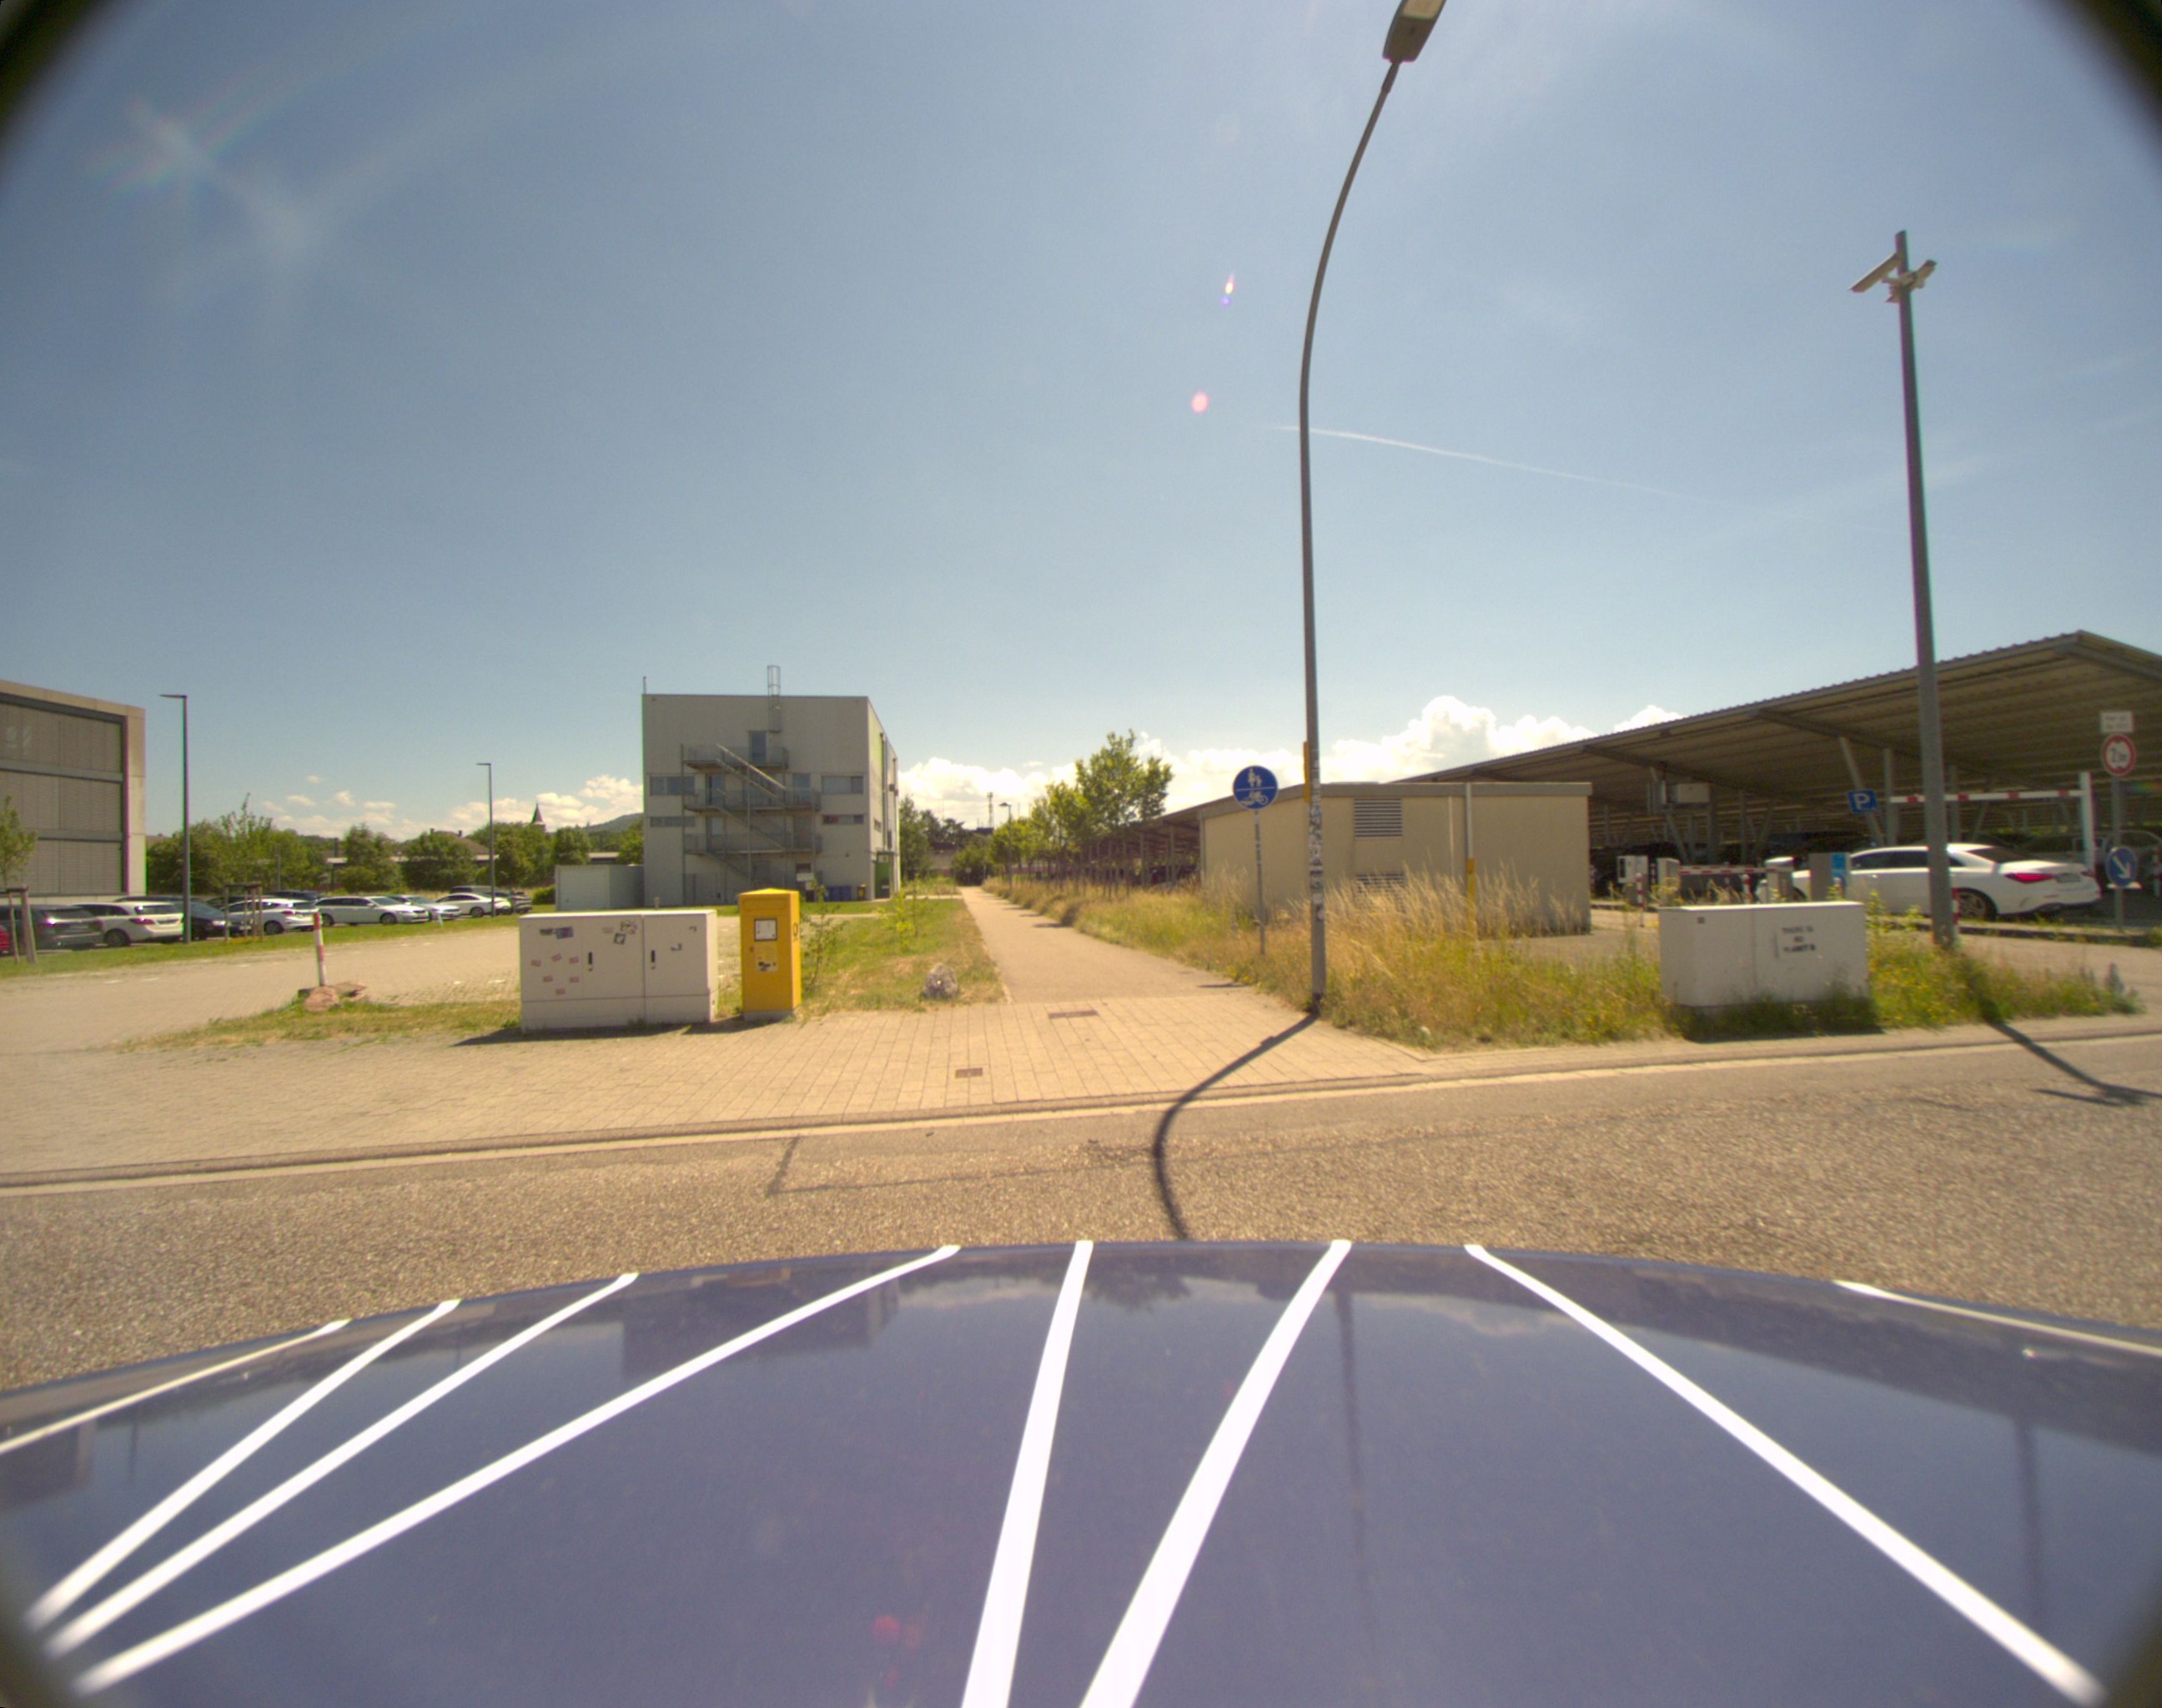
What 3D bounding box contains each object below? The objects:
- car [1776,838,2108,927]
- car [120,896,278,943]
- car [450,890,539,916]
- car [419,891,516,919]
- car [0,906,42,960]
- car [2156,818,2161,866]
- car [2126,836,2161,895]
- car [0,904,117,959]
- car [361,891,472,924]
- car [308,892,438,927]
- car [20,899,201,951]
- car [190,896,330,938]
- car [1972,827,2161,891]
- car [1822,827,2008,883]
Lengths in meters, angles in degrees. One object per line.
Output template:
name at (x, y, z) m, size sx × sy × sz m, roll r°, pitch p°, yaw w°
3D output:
car at (15.910, 0.511, 14.362) m, size 1.724 × 1.427 × 3.773 m, roll -1°, pitch -1°, yaw -11°
car at (-32.952, 2.430, 28.487) m, size 3.628 × 1.526 × 1.658 m, roll -1°, pitch 0°, yaw -8°
car at (-36.379, 3.037, 47.241) m, size 4.057 × 1.379 × 1.658 m, roll -1°, pitch 0°, yaw -8°
car at (-35.428, 2.915, 43.955) m, size 4.057 × 1.416 × 1.658 m, roll -1°, pitch 0°, yaw -8°
car at (-32.311, 2.300, 21.298) m, size 3.628 × 1.492 × 1.658 m, roll -1°, pitch 0°, yaw -8°
car at (34.351, -0.423, 22.344) m, size 3.776 × 1.427 × 1.722 m, roll -1°, pitch -1°, yaw -10°
car at (24.380, 0.201, 15.751) m, size 3.776 × 1.220 × 1.722 m, roll -1°, pitch -1°, yaw -10°
car at (-32.575, 2.392, 23.264) m, size 3.628 × 1.492 × 1.658 m, roll -1°, pitch 0°, yaw -8°
car at (-34.252, 2.745, 39.258) m, size 4.057 × 1.458 × 1.658 m, roll -1°, pitch 0°, yaw -8°
car at (-34.064, 2.663, 36.677) m, size 4.371 × 1.458 × 1.708 m, roll -1°, pitch 0°, yaw -8°
car at (-32.972, 2.390, 25.916) m, size 3.628 × 1.492 × 1.658 m, roll -1°, pitch 0°, yaw -8°
car at (-33.466, 2.558, 31.074) m, size 3.628 × 1.492 × 1.658 m, roll -1°, pitch 0°, yaw -8°
car at (24.260, 0.122, 18.452) m, size 3.776 × 1.427 × 1.722 m, roll -1°, pitch -1°, yaw -10°
car at (23.130, 0.029, 21.120) m, size 3.776 × 1.427 × 1.722 m, roll -1°, pitch -1°, yaw -10°
